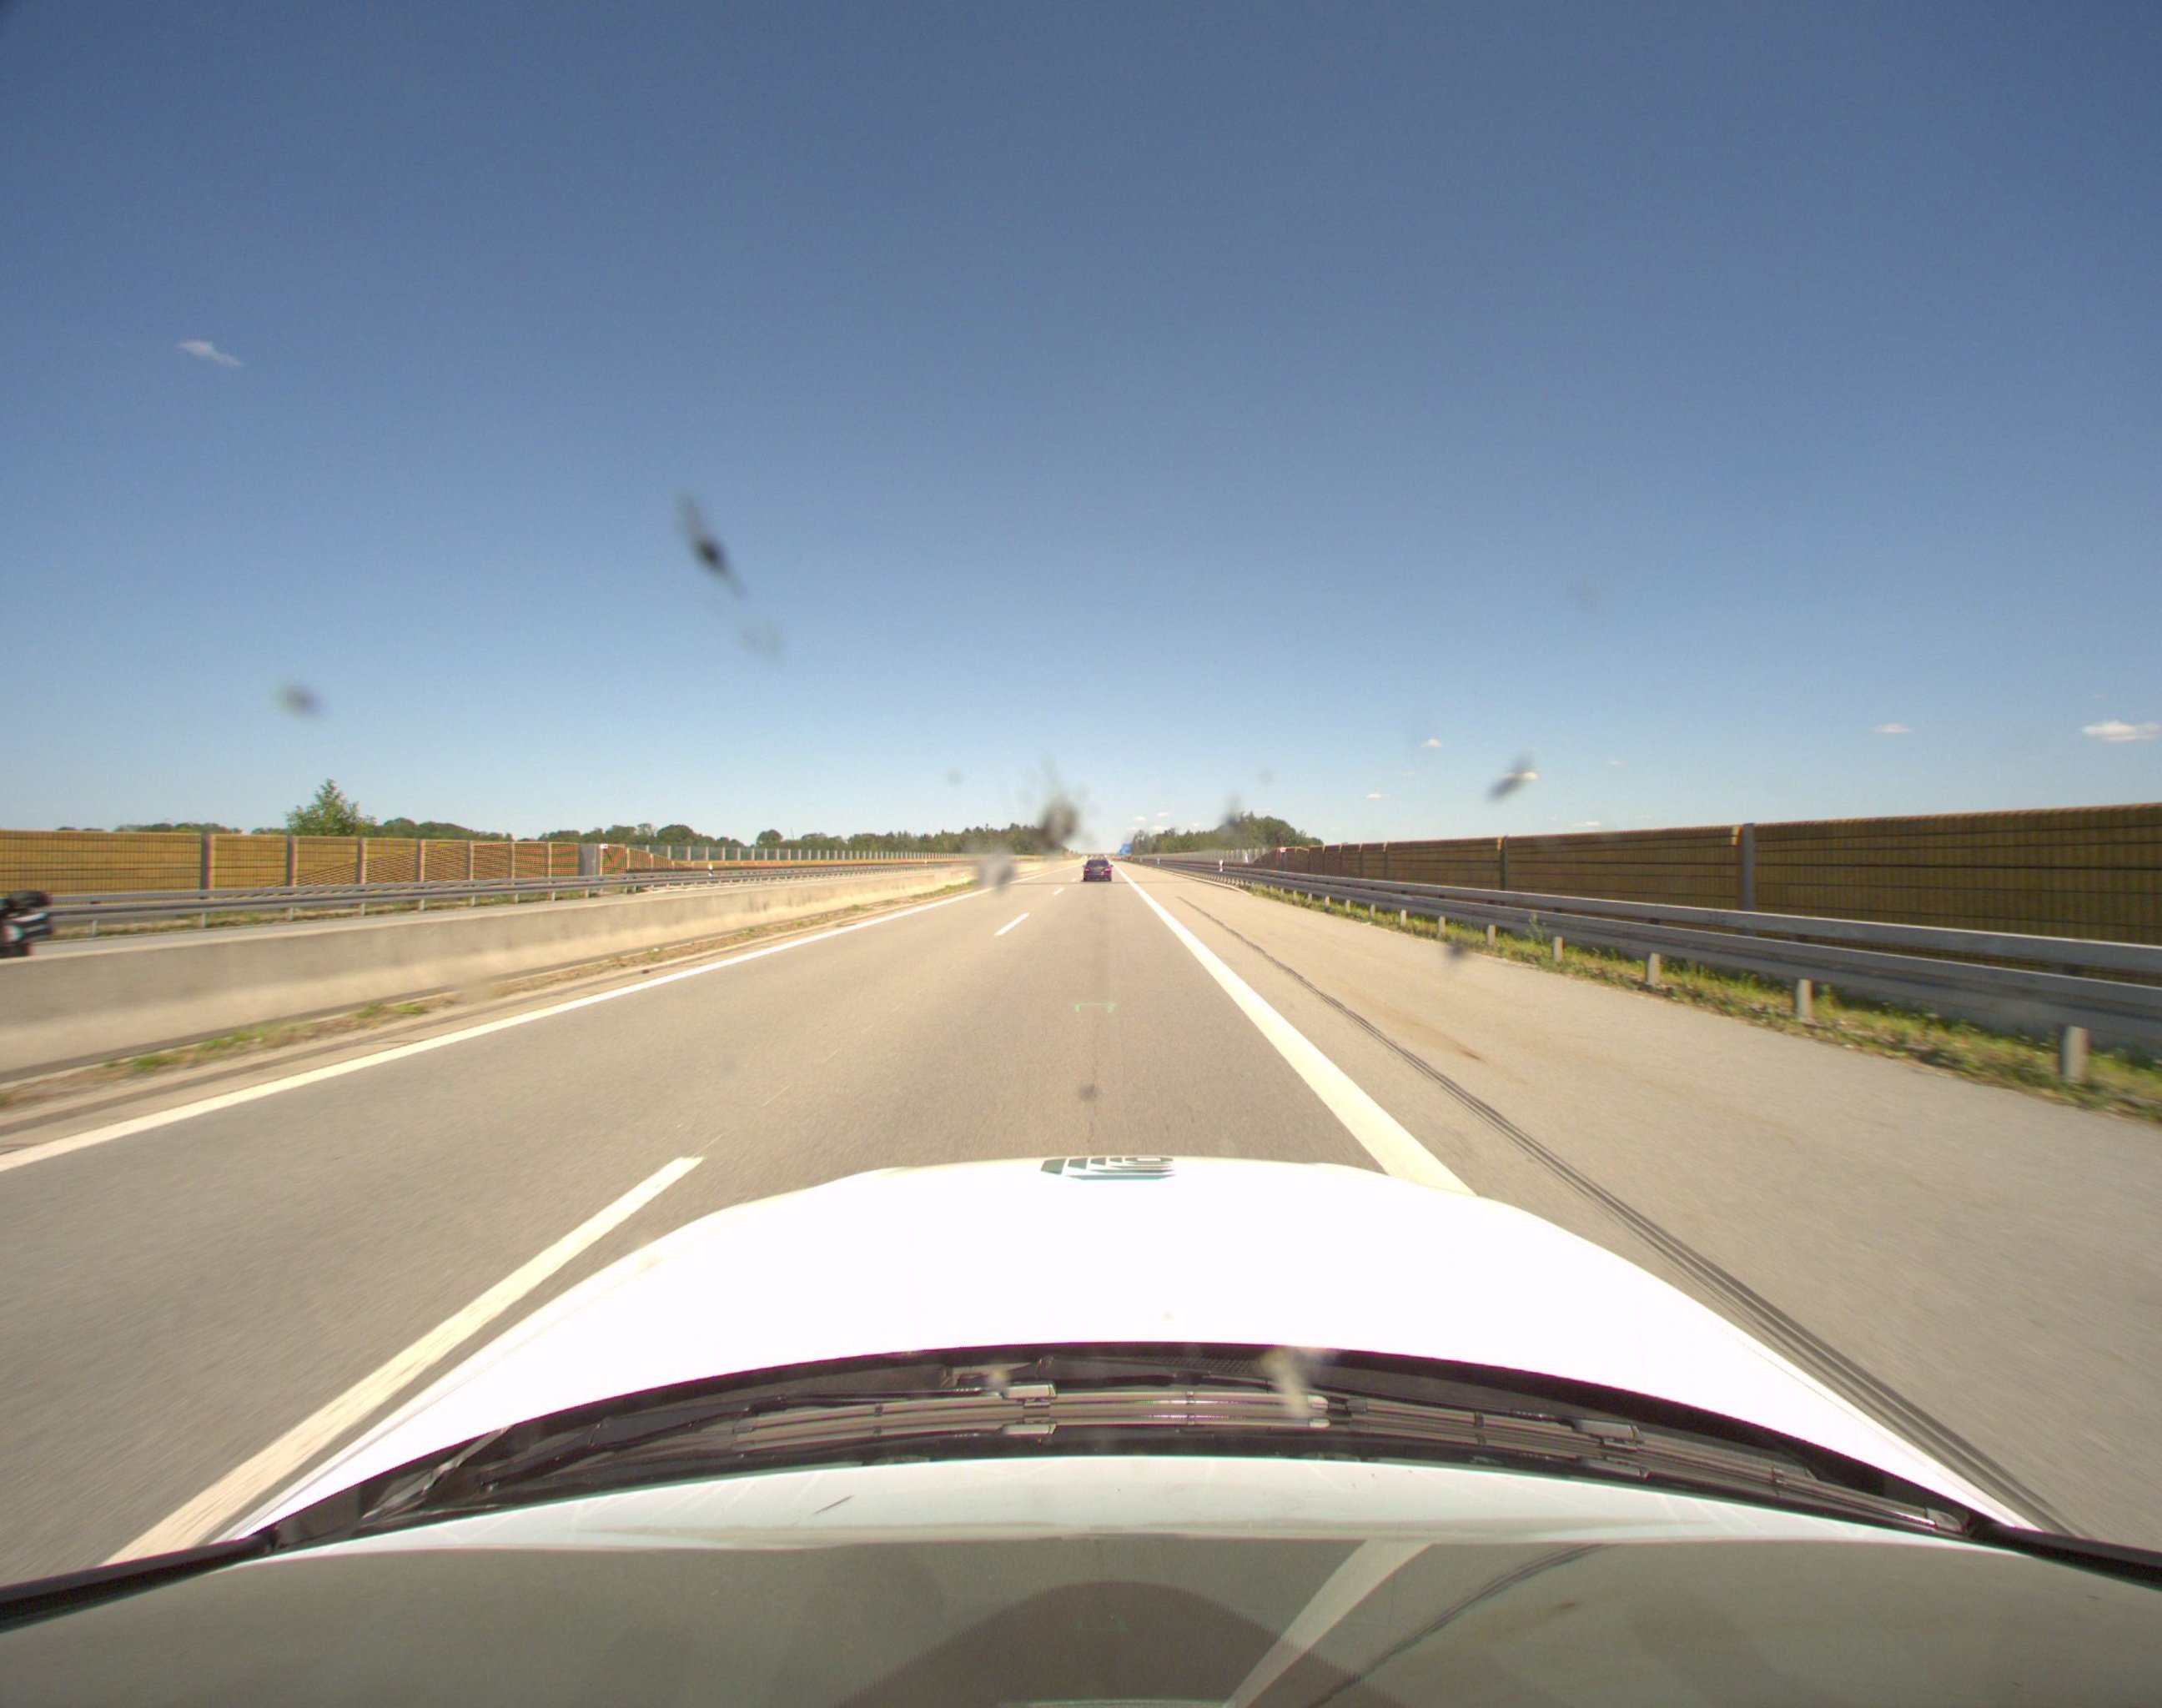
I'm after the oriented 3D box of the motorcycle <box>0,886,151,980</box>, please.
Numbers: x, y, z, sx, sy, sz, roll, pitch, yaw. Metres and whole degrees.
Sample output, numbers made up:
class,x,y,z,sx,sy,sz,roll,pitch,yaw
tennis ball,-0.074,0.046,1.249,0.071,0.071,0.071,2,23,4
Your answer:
class,x,y,z,sx,sy,sz,roll,pitch,yaw
motorcycle,-14.644,1.069,10.914,1.009,1.167,2.869,-1,0,2

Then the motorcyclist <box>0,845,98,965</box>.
class,x,y,z,sx,sy,sz,roll,pitch,yaw
motorcyclist,-14.650,0.673,10.995,1.008,1.564,1.429,-1,-1,2

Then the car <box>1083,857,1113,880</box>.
class,x,y,z,sx,sy,sz,roll,pitch,yaw
car,1.080,0.898,51.019,1.783,1.374,3.918,-1,0,2

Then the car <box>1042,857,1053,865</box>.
class,x,y,z,sx,sy,sz,roll,pitch,yaw
car,-7.954,1.654,193.190,1.985,2.014,4.764,-1,0,3
